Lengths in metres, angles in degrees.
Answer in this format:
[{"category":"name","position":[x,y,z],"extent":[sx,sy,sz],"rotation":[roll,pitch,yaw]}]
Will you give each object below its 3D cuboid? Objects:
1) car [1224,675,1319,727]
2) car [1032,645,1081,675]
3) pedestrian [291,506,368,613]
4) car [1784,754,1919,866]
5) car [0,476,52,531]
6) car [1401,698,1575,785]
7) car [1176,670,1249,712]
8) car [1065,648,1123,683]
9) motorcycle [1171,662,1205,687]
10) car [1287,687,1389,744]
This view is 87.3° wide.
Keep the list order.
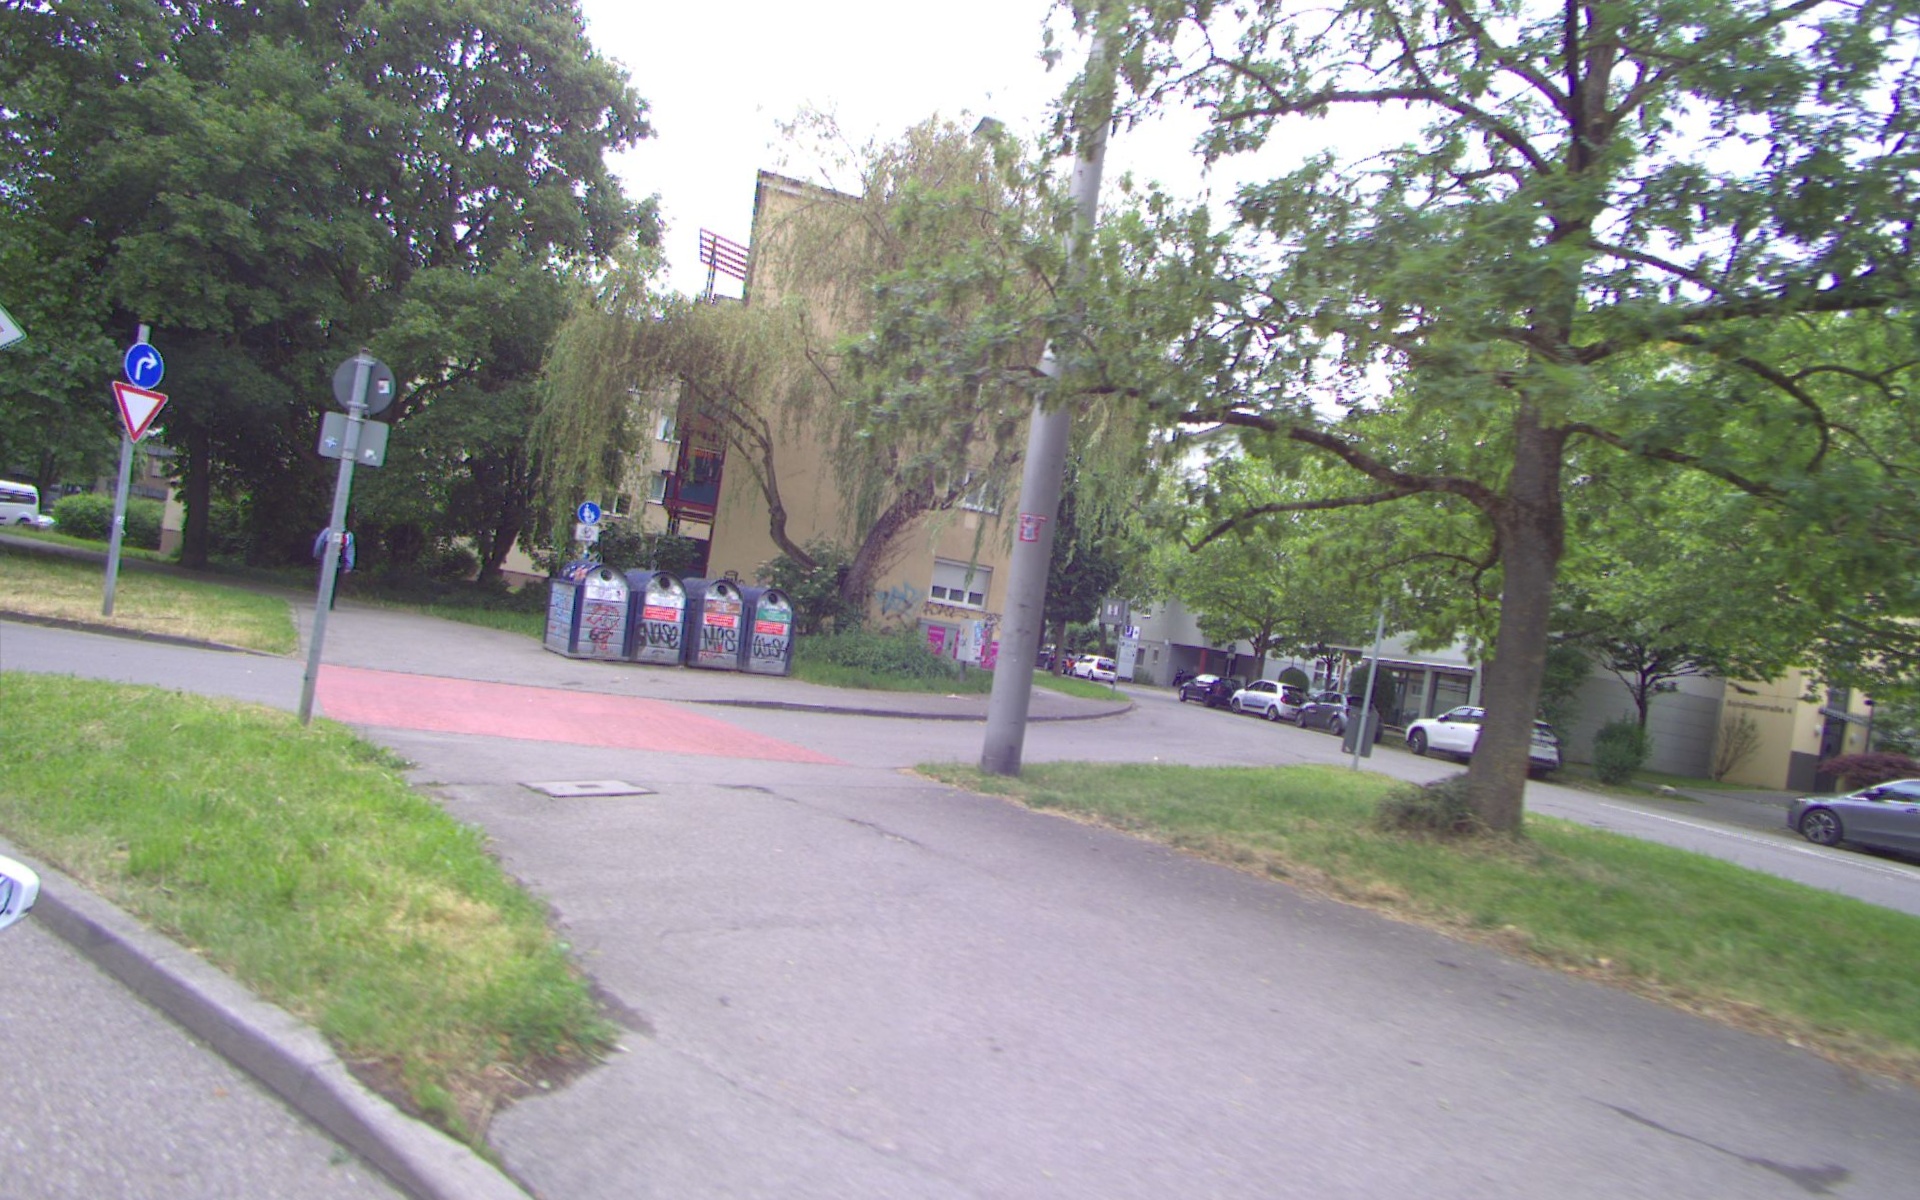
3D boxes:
[{"category":"car","position":[12.287,3.961,39.880],"extent":[1.628,1.441,3.429],"rotation":[12,-3,-21]},{"category":"car","position":[6.257,3.895,65.621],"extent":[1.762,1.463,4.079],"rotation":[12,-3,-14]},{"category":"pedestrian","position":[-12.277,-0.790,19.583],"extent":[1.005,1.897,0.921],"rotation":[12,5,44]},{"category":"car","position":[17.008,3.857,17.245],"extent":[1.854,1.585,4.010],"rotation":[12,-3,-14]},{"category":"car","position":[-46.941,-4.942,48.030],"extent":[2.101,2.321,5.388],"rotation":[11,-3,-3]},{"category":"car","position":[14.422,3.836,27.783],"extent":[1.757,1.614,4.240],"rotation":[11,-3,-13]},{"category":"car","position":[11.189,4.028,44.822],"extent":[1.553,1.368,3.437],"rotation":[12,-3,-13]},{"category":"car","position":[7.912,3.851,59.714],"extent":[1.766,1.502,3.620],"rotation":[12,-3,-19]},{"category":"motorcycle","position":[15.524,5.078,68.613],"extent":[1.934,1.384,0.750],"rotation":[12,-2,-9]},{"category":"car","position":[13.239,4.017,35.445],"extent":[1.623,1.389,3.439],"rotation":[12,-3,-11]}]
